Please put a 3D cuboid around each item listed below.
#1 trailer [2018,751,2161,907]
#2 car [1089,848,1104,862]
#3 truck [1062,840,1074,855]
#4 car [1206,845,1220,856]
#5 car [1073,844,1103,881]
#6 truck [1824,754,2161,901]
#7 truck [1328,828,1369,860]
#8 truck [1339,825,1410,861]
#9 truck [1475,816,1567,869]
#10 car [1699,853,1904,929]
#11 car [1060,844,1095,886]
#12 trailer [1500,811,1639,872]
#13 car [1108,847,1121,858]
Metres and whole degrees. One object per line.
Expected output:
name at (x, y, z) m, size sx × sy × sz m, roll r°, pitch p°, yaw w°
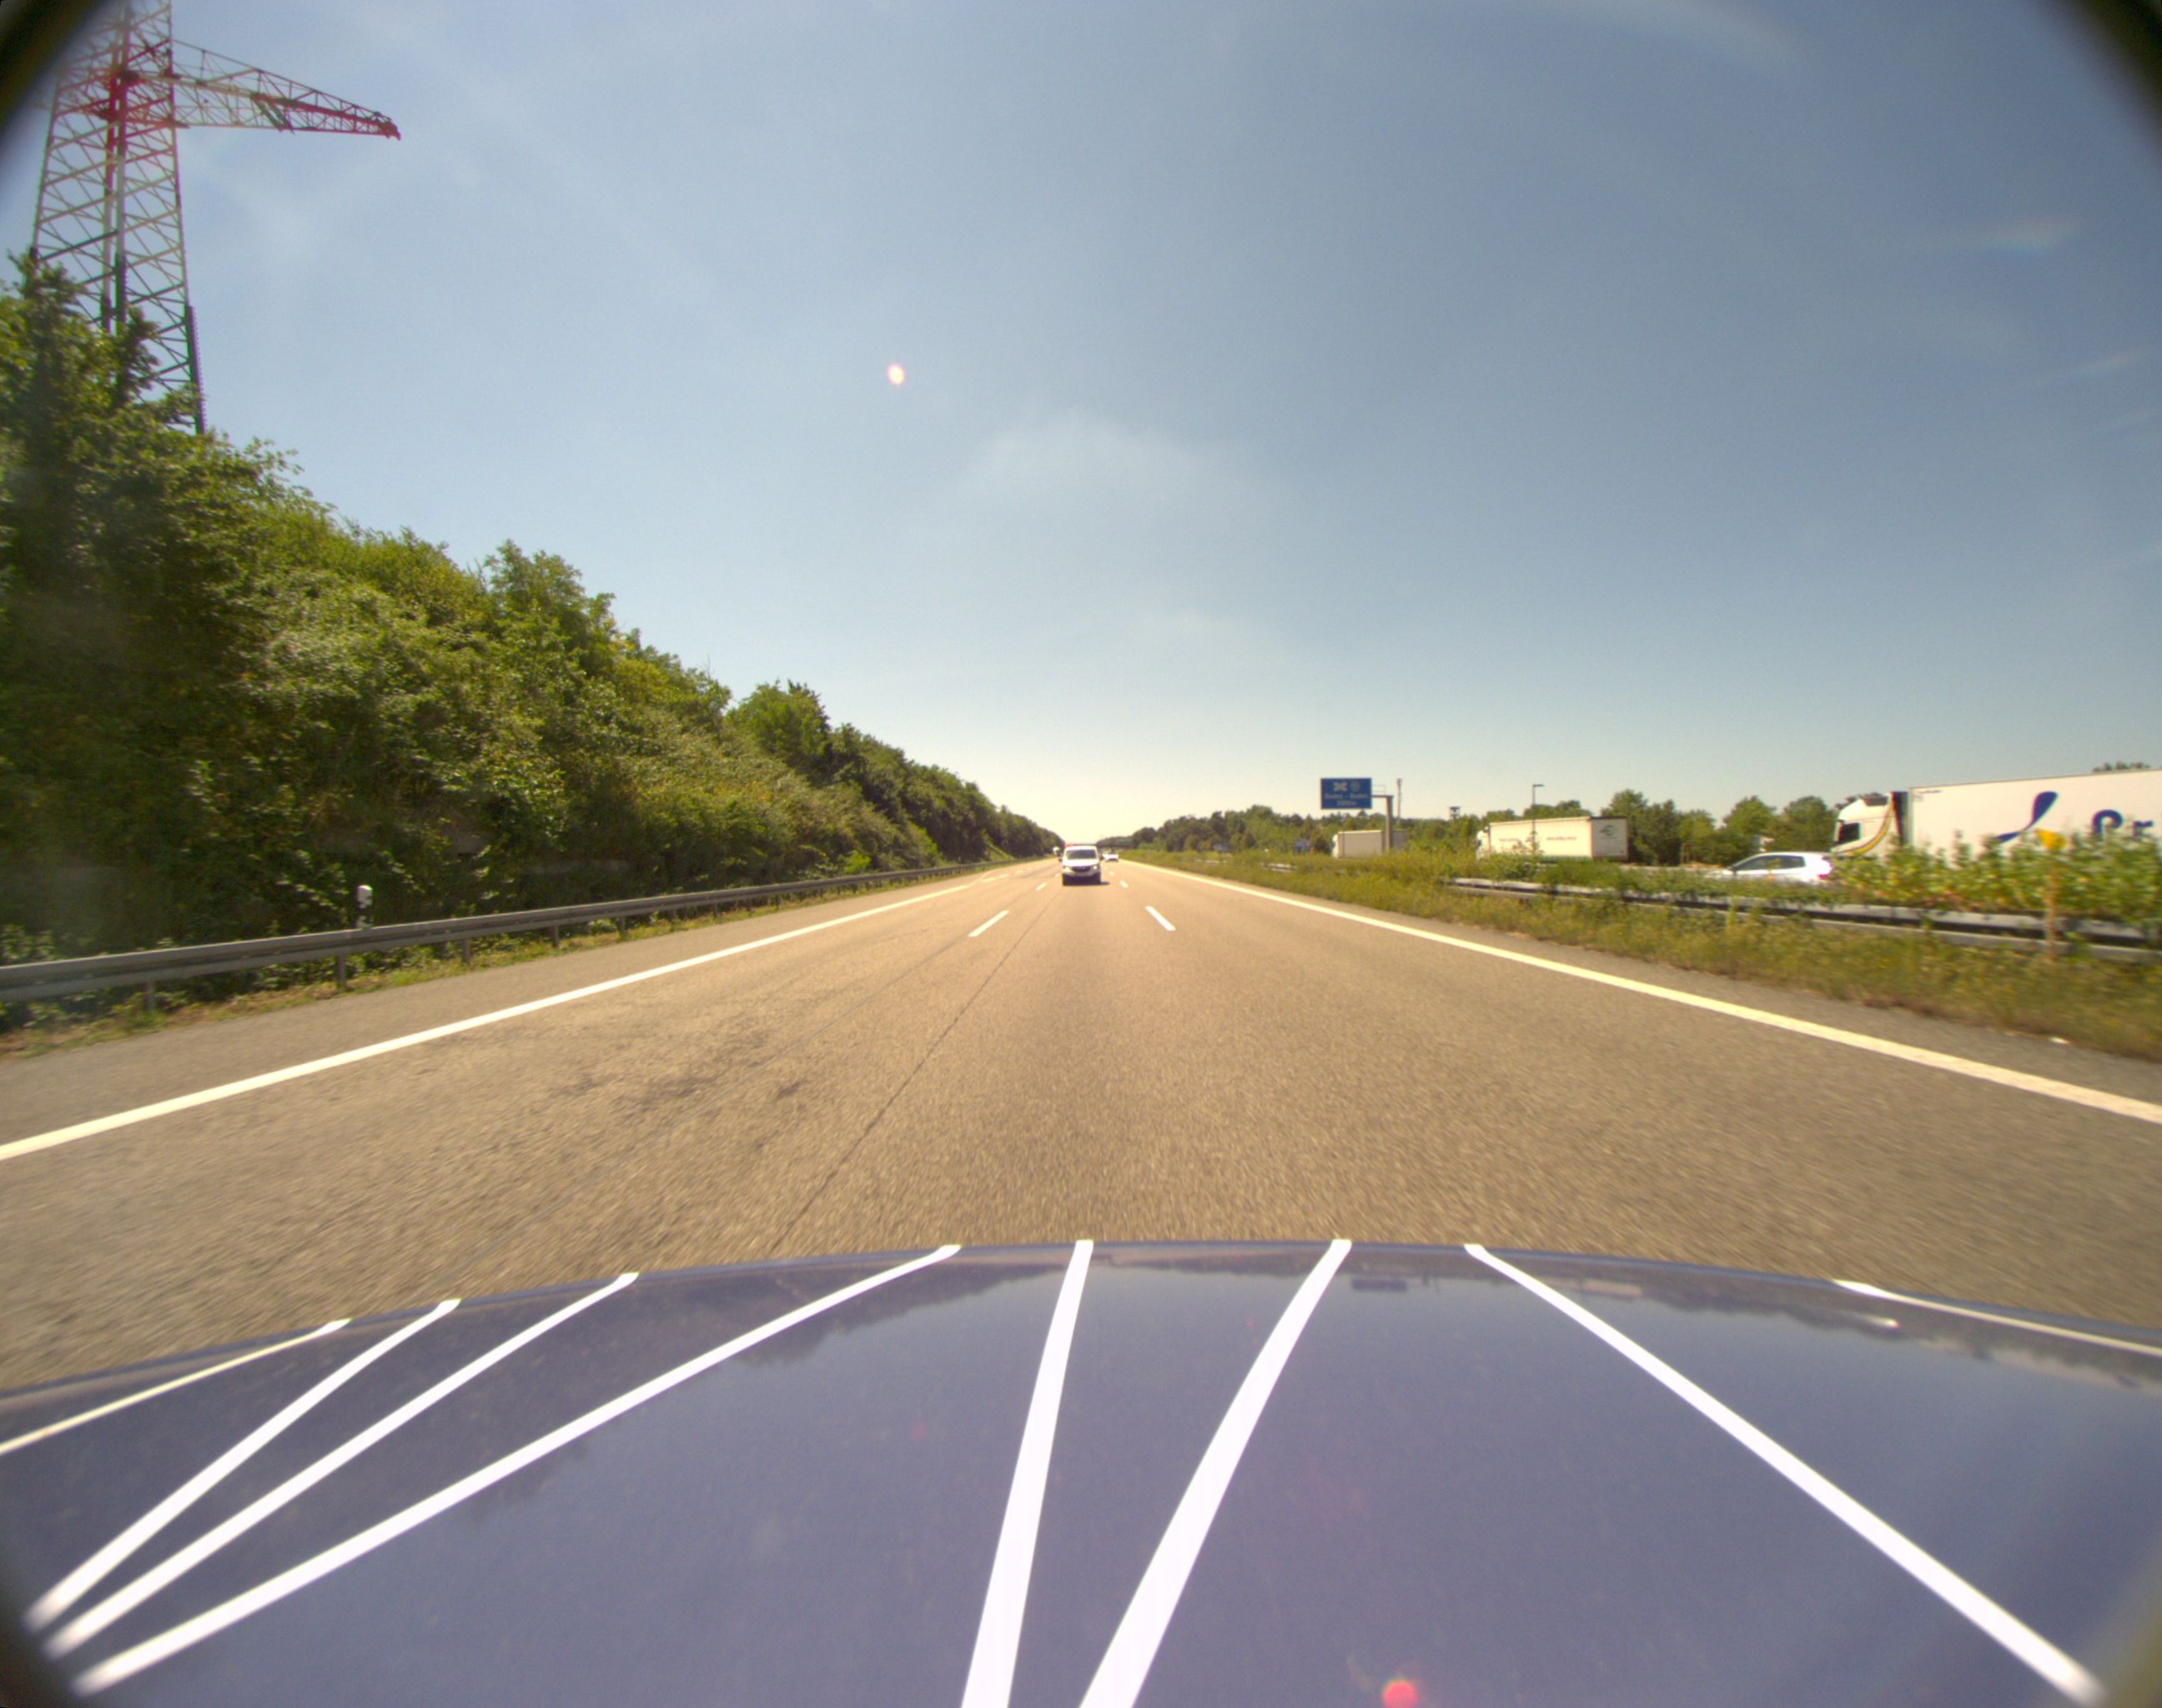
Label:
trailer at (30.359, -0.714, 18.289) m, size 2.605 × 4.194 × 10.513 m, roll -3°, pitch 1°, yaw 0°
car at (1.820, 0.115, 87.195) m, size 1.586 × 1.497 × 3.793 m, roll -3°, pitch 1°, yaw 1°
truck at (-3.088, -1.587, 183.437) m, size 2.540 × 3.656 × 5.219 m, roll -3°, pitch 1°, yaw 1°
car at (23.024, -0.666, 132.860) m, size 1.654 × 1.737 × 4.408 m, roll -3°, pitch 1°, yaw 1°
car at (0.352, 0.411, 39.202) m, size 1.413 × 1.795 × 3.200 m, roll -3°, pitch 1°, yaw 0°
truck at (30.434, -0.796, 25.818) m, size 2.588 × 4.164 × 7.935 m, roll -2°, pitch 1°, yaw 1°
truck at (32.821, -1.246, 93.536) m, size 2.806 × 3.622 × 6.146 m, roll -3°, pitch 1°, yaw 1°
truck at (32.726, -1.177, 85.570) m, size 2.806 × 3.622 × 13.605 m, roll -3°, pitch 1°, yaw 1°
truck at (37.581, -0.965, 65.336) m, size 3.103 × 4.128 × 8.315 m, roll -3°, pitch 1°, yaw 1°
car at (17.584, 0.823, 18.803) m, size 1.526 × 1.602 × 3.752 m, roll -3°, pitch 1°, yaw 1°
car at (-0.146, 0.480, 35.527) m, size 1.501 × 1.799 × 3.394 m, roll -3°, pitch 1°, yaw 0°
trailer at (37.508, -0.903, 59.195) m, size 3.101 × 4.132 × 12.009 m, roll -3°, pitch 1°, yaw 1°
car at (4.829, -0.224, 110.329) m, size 1.775 × 1.410 × 3.401 m, roll -3°, pitch 1°, yaw 1°
